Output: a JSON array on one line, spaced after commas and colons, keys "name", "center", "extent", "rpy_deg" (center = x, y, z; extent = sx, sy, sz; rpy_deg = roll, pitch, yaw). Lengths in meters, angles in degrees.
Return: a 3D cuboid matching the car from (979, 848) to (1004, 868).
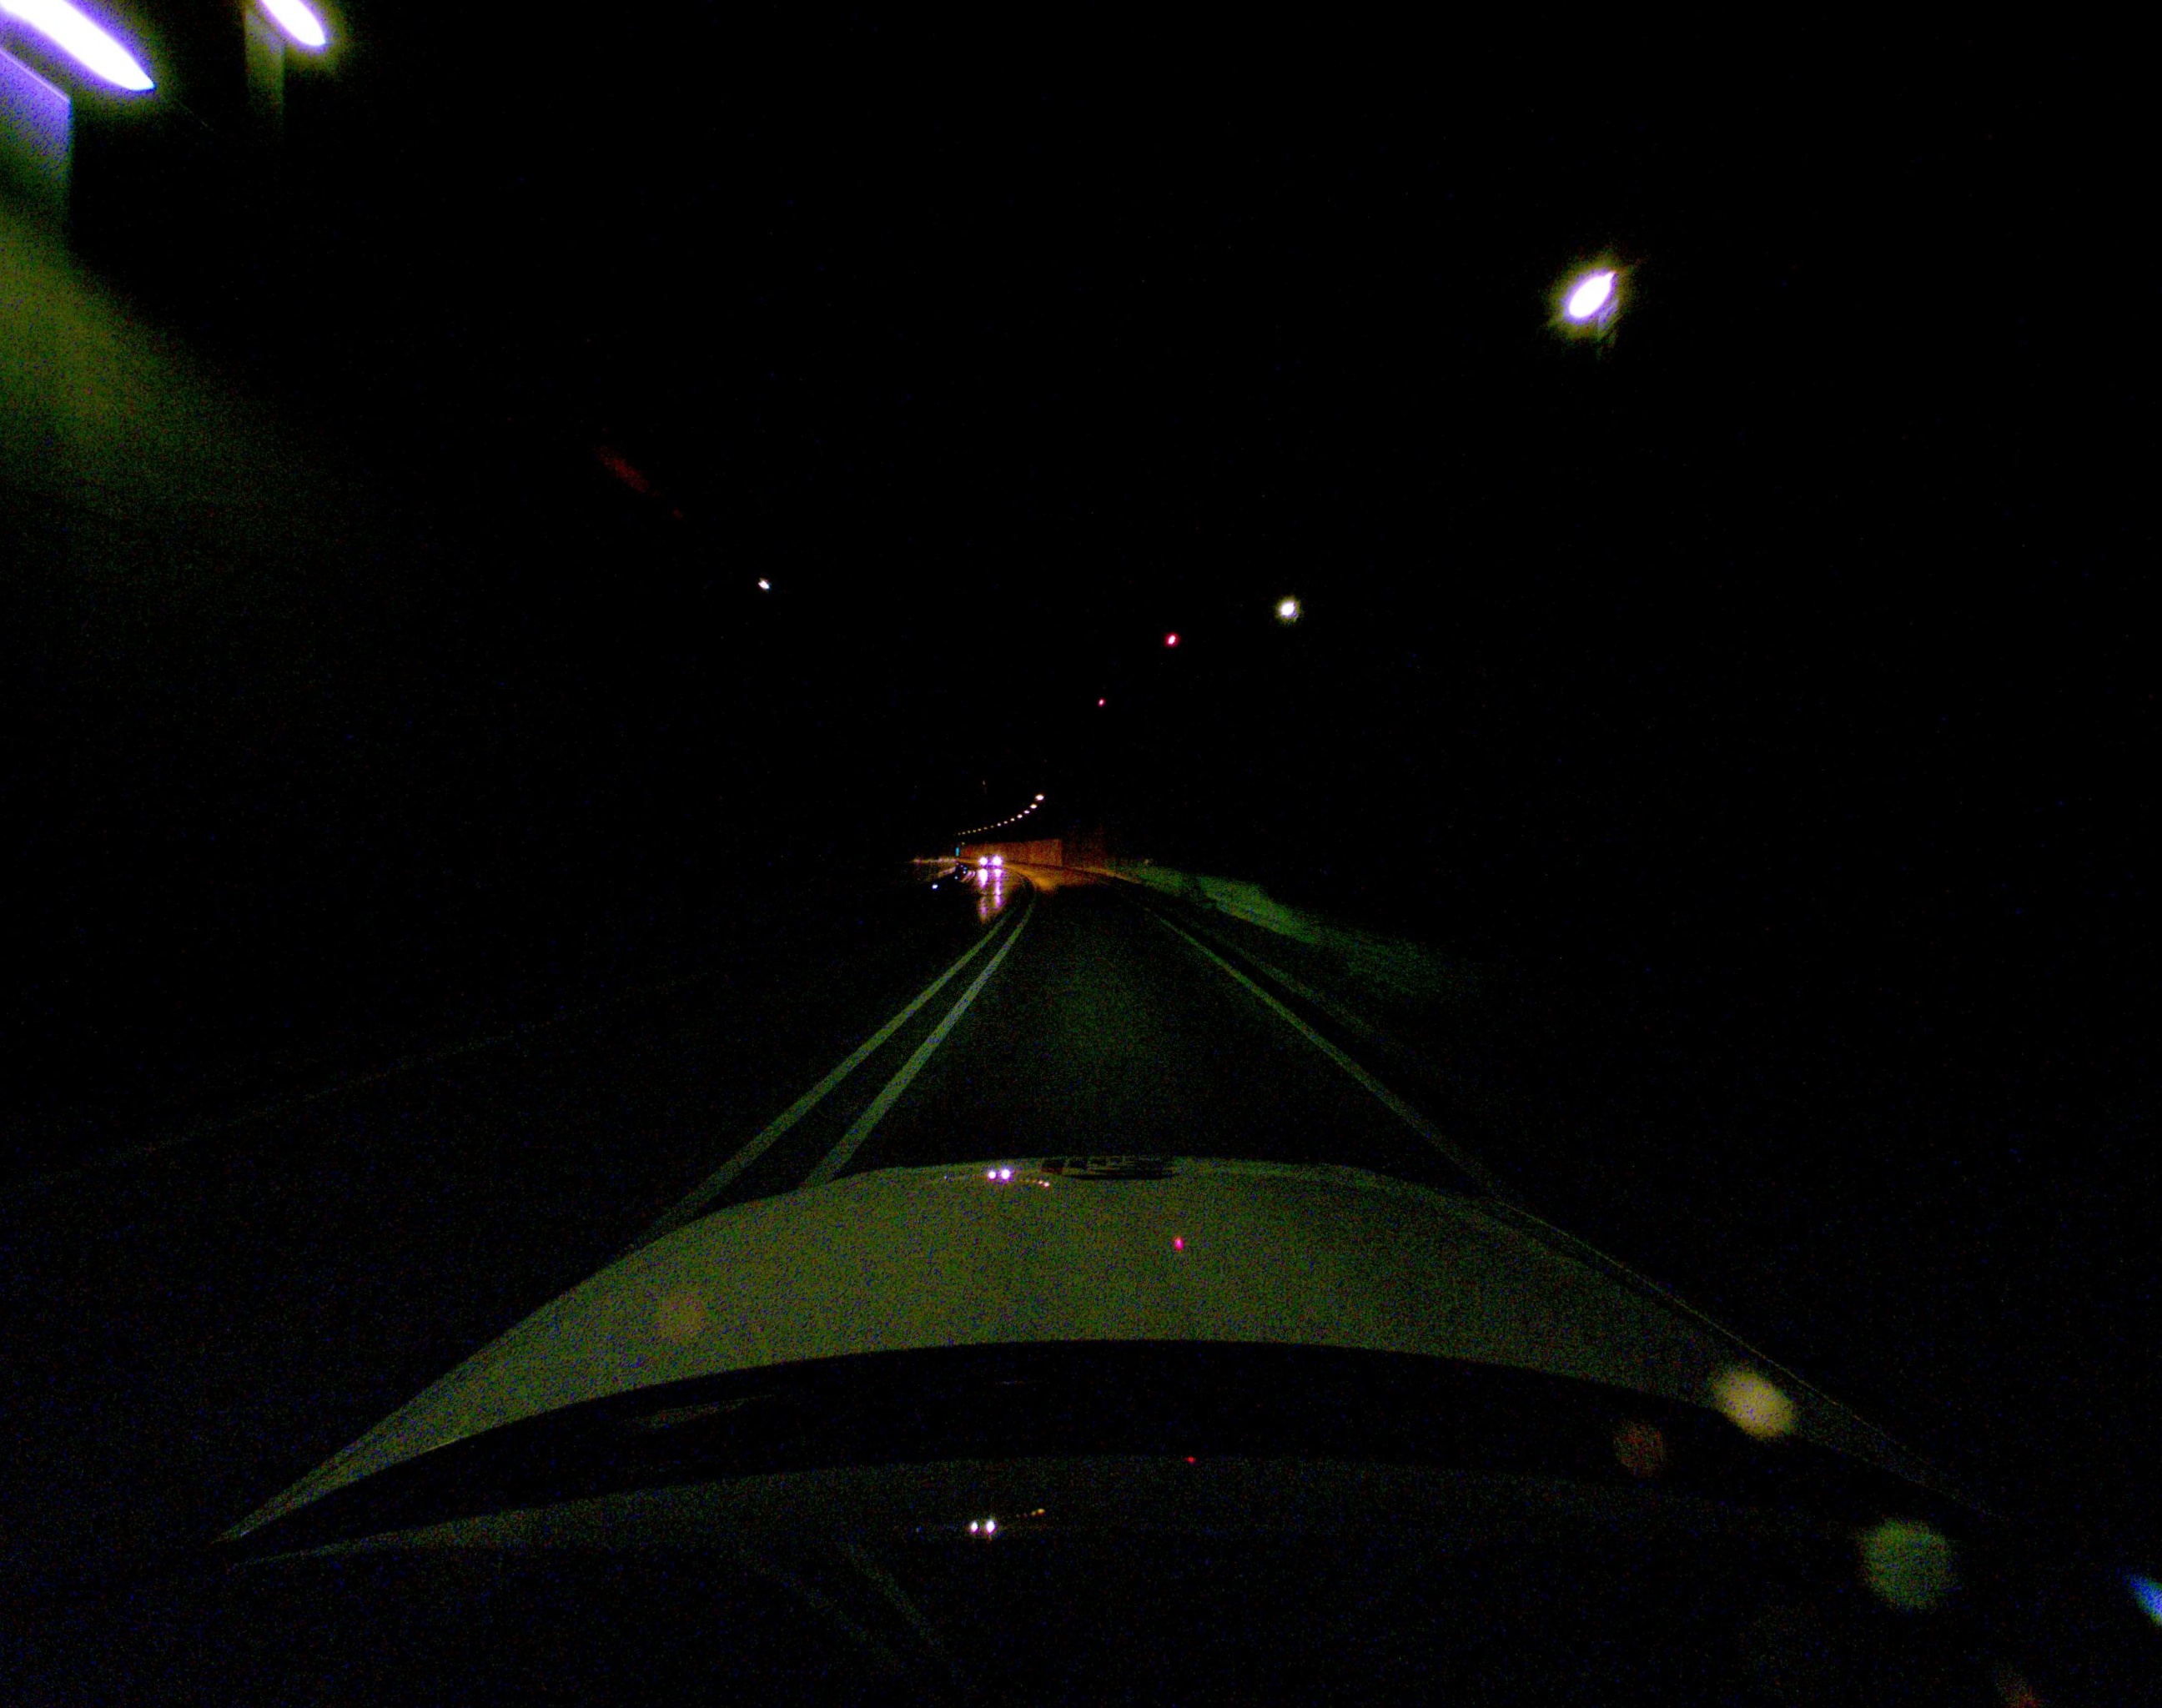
[{"name": "car", "center": [-8.509, 0.361, 77.263], "extent": [1.994, 1.740, 3.986], "rpy_deg": [4, -1, -10]}]
